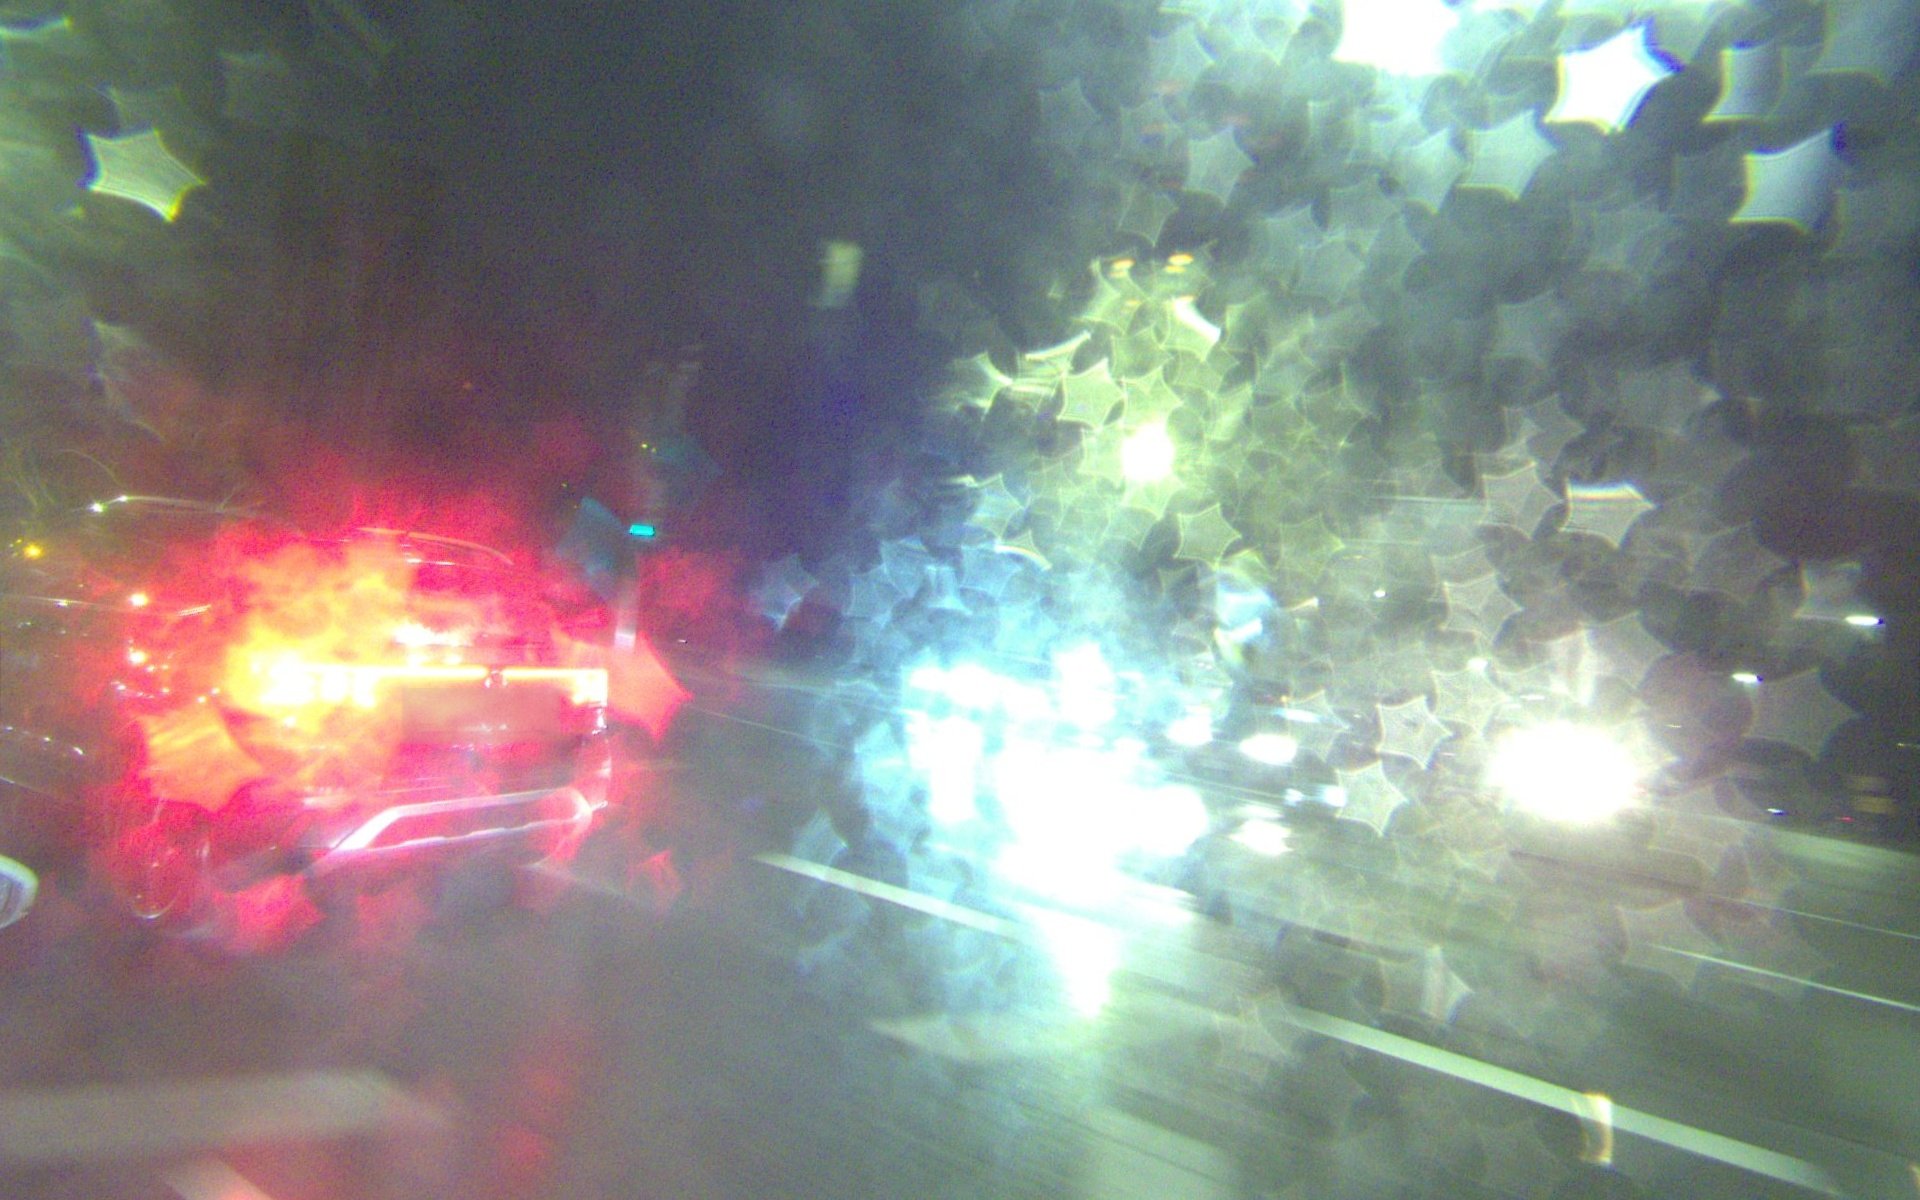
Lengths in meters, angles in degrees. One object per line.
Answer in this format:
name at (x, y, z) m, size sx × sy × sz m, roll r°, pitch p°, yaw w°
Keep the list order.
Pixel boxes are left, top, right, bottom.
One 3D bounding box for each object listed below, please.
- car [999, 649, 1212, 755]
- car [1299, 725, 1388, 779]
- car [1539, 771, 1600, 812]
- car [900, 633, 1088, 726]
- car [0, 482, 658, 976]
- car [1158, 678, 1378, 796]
car at (2.916, 2.010, 19.316) m, size 1.830 × 1.536 × 4.483 m, roll 7°, pitch -2°, yaw 40°
car at (14.782, 5.841, 38.702) m, size 1.800 × 1.659 × 3.984 m, roll 7°, pitch -2°, yaw 41°
car at (26.688, 8.332, 43.992) m, size 1.721 × 1.361 × 3.901 m, roll 7°, pitch -2°, yaw 38°
car at (0.848, 1.796, 22.256) m, size 1.830 × 1.536 × 4.164 m, roll 7°, pitch -2°, yaw 40°
car at (-3.618, 0.371, 4.890) m, size 3.891 × 1.538 × 1.683 m, roll 5°, pitch -3°, yaw 27°
car at (4.896, 2.143, 15.649) m, size 1.722 × 1.361 × 4.042 m, roll 7°, pitch -2°, yaw 40°
